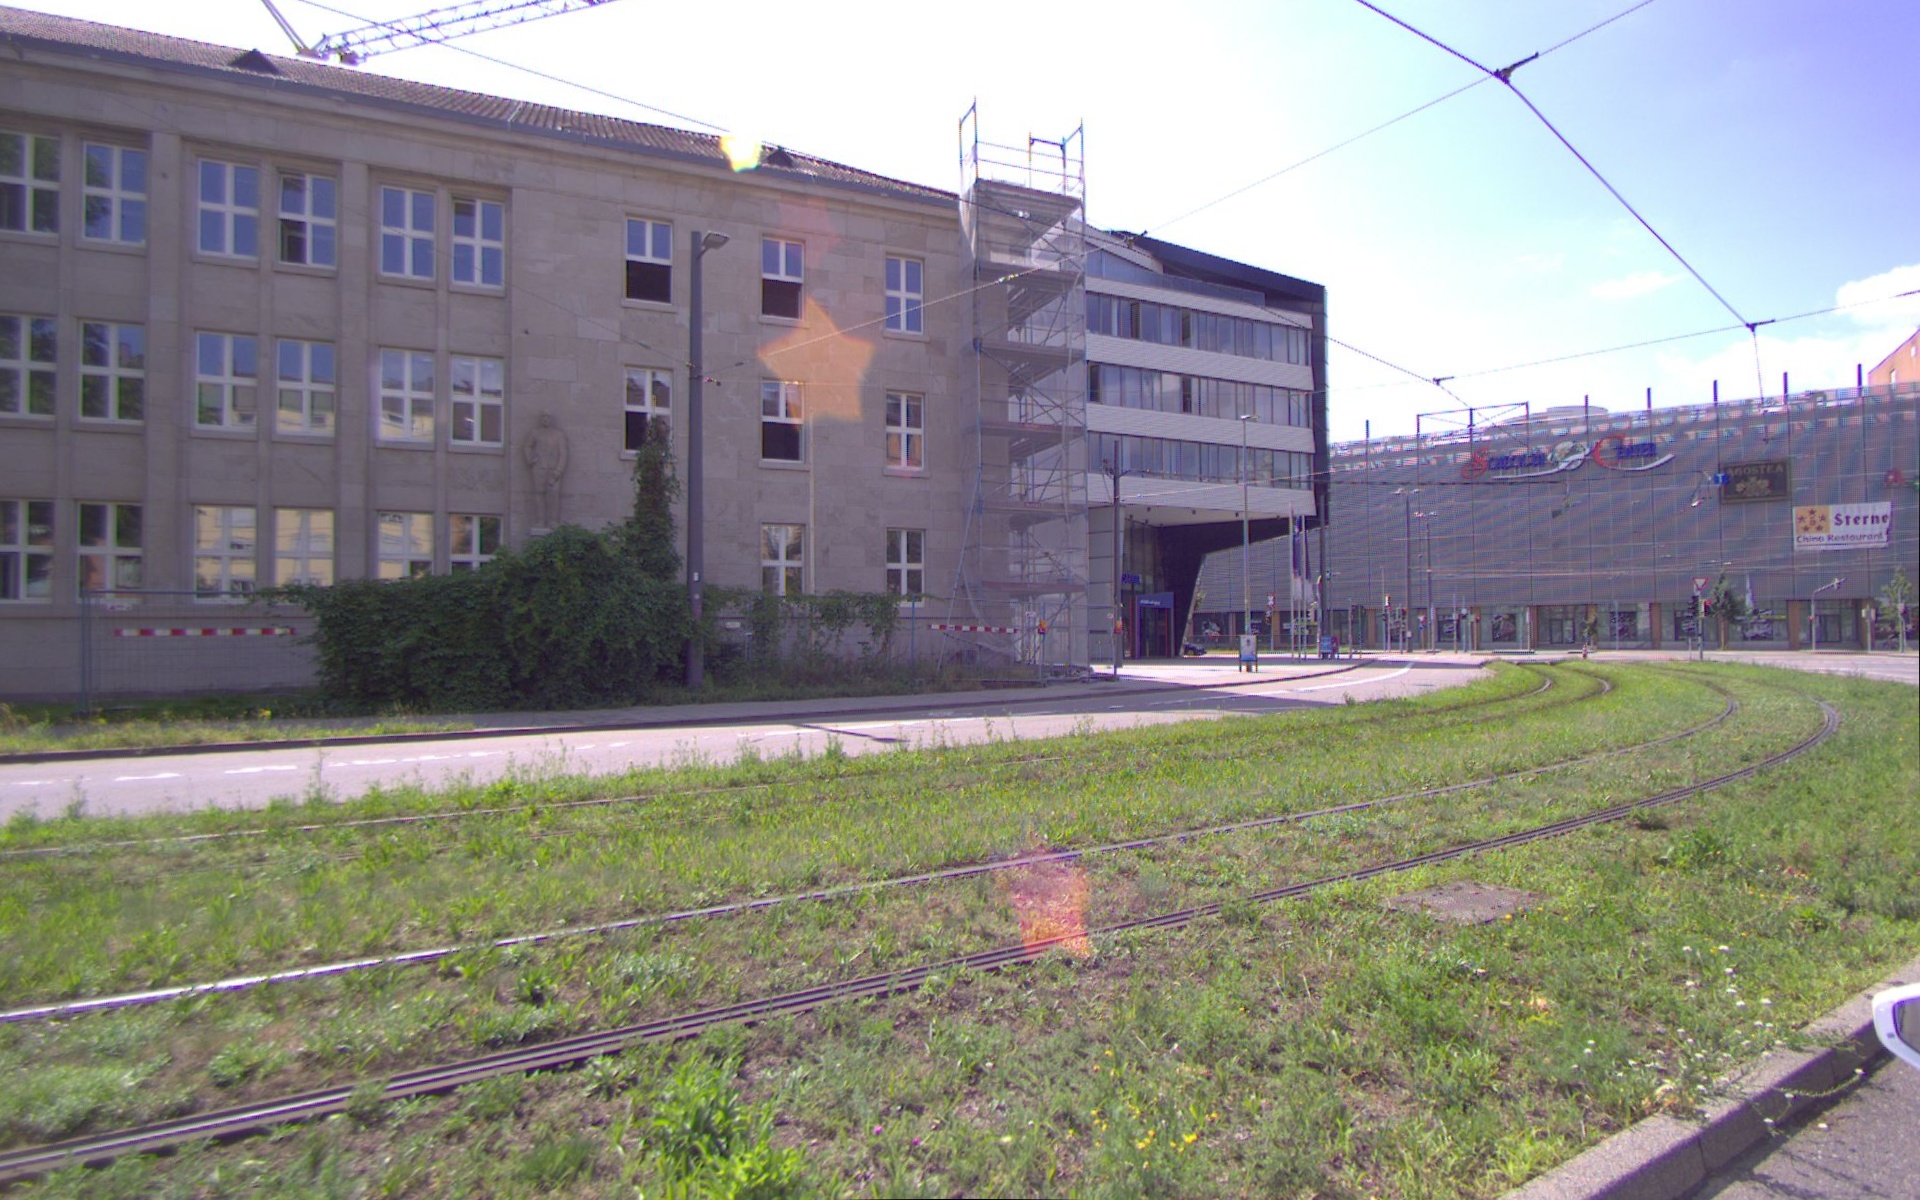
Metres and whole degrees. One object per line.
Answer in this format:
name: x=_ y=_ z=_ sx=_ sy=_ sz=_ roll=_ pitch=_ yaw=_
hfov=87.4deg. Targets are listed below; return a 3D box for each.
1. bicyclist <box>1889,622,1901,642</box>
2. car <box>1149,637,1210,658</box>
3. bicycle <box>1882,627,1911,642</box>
bicyclist: x=80.830 y=2.758 z=86.834 sx=0.653 sy=1.645 sz=0.549 roll=0 pitch=-1 yaw=31
car: x=16.164 y=3.474 z=73.986 sx=4.040 sy=1.488 sz=1.823 roll=-2 pitch=-2 yaw=31
bicycle: x=80.886 y=2.966 z=86.792 sx=1.735 sy=1.240 sz=0.583 roll=0 pitch=-1 yaw=32
